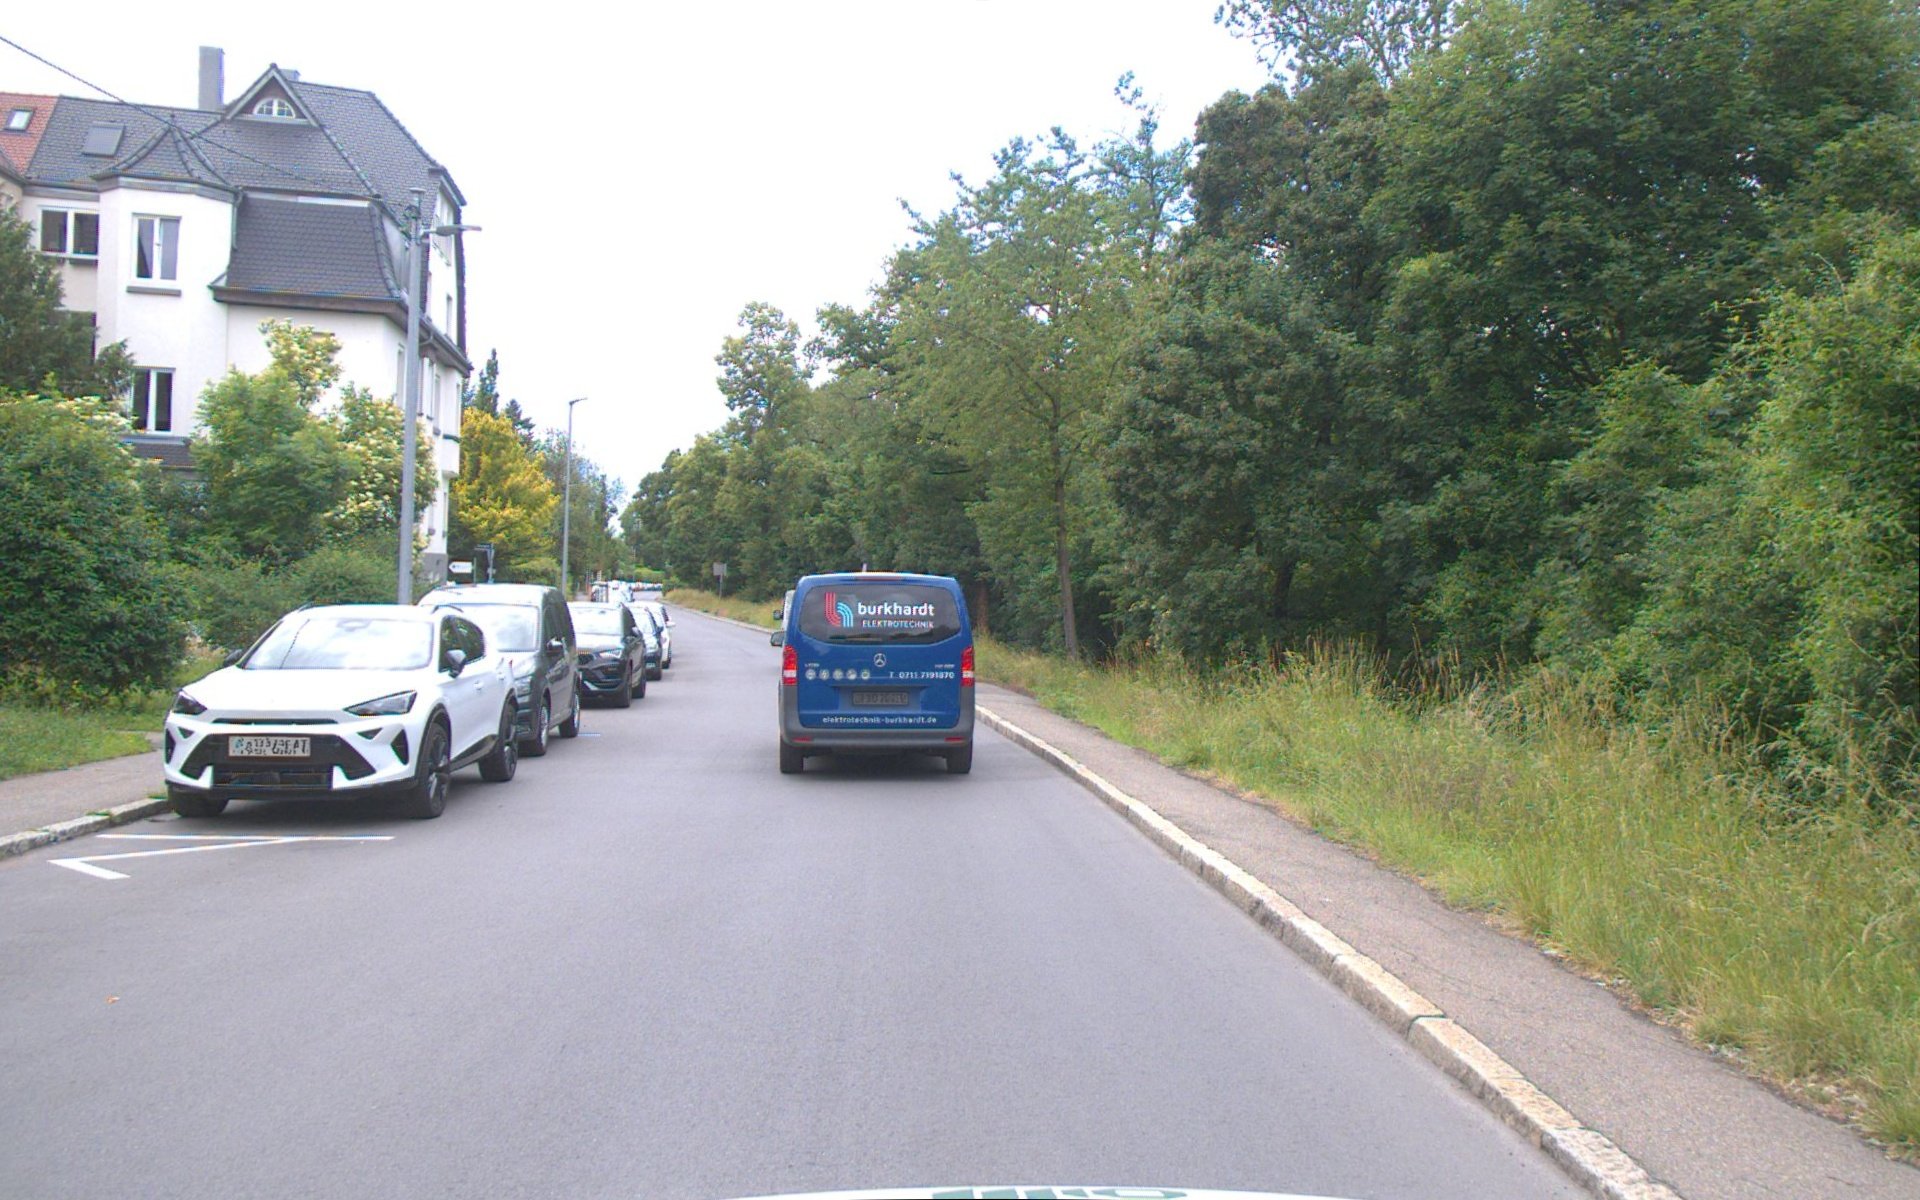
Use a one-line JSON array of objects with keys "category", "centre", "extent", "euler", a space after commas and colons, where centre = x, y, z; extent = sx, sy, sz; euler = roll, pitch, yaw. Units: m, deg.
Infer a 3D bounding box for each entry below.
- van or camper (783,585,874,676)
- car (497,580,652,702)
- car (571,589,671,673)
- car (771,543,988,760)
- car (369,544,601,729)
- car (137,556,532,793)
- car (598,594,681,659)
[{"category": "van or camper", "centre": [-3.228, 0.657, 39.732], "extent": [1.981, 1.991, 4.889], "euler": [-1, 1, -7]}, {"category": "car", "centre": [-6.155, 0.624, 26.886], "extent": [1.781, 1.643, 4.218], "euler": [6, -1, -6]}, {"category": "car", "centre": [-7.188, 0.664, 35.396], "extent": [1.577, 1.539, 3.850], "euler": [6, -2, -6]}, {"category": "car", "centre": [-0.913, 0.485, 16.905], "extent": [1.876, 1.870, 4.288], "euler": [2, -1, -6]}, {"category": "car", "centre": [-5.172, 0.427, 18.591], "extent": [1.710, 1.795, 4.407], "euler": [1, -2, -6]}, {"category": "car", "centre": [-4.682, 0.568, 13.109], "extent": [1.690, 1.519, 4.409], "euler": [2, -2, -4]}, {"category": "car", "centre": [-7.901, 0.651, 41.001], "extent": [1.577, 1.365, 3.850], "euler": [6, -2, -6]}]
